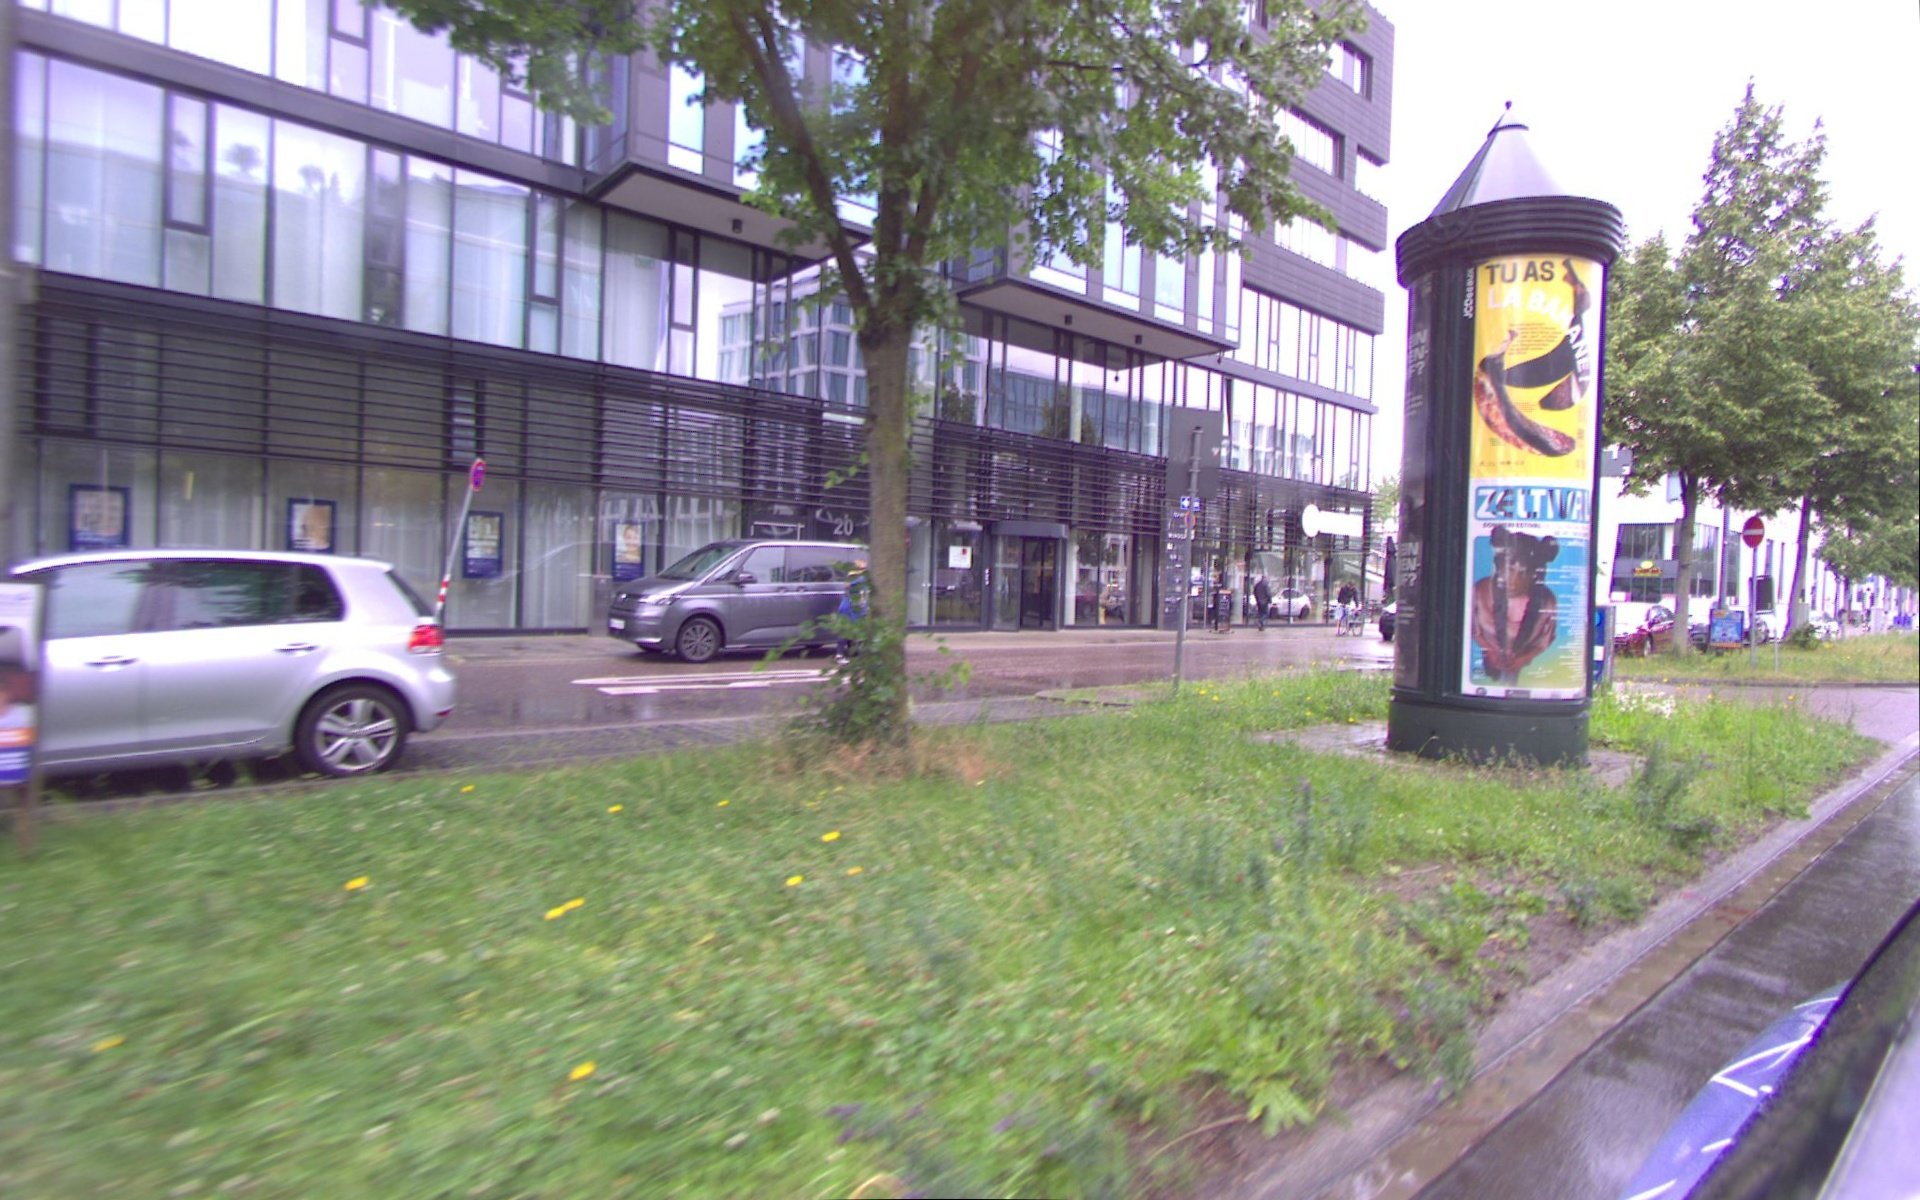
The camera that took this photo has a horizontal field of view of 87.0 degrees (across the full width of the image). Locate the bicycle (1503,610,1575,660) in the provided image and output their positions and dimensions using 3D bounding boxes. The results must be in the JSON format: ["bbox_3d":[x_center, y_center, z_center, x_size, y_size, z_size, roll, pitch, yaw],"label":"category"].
[{"bbox_3d":[11.698,0.695,20.496,0.424,0.929,1.464,3,0,-8],"label":"bicycle"}]

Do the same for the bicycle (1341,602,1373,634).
[{"bbox_3d":[12.137,0.557,30.897,0.437,0.909,1.211,2,-1,45],"label":"bicycle"}]

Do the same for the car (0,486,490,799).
[{"bbox_3d":[-5.266,0.206,6.111,4.027,1.616,1.764,3,-1,-40],"label":"car"}]

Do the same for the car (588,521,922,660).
[{"bbox_3d":[-3.209,-0.143,16.637,5.062,1.944,1.996,1,1,-43],"label":"car"}]

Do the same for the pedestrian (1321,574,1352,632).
[{"bbox_3d":[11.621,0.095,31.235,0.626,1.727,0.646,2,-1,44],"label":"pedestrian"}]

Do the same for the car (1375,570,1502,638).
[{"bbox_3d":[14.510,0.136,30.557,4.644,1.889,1.895,1,1,-43],"label":"car"}]

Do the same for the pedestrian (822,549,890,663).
[{"bbox_3d":[-1.647,0.095,16.107,0.789,1.761,0.581,4,0,-43],"label":"pedestrian"}]

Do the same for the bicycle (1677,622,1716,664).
[{"bbox_3d":[16.284,0.950,22.402,0.570,0.873,1.891,3,-1,34],"label":"bicycle"}]

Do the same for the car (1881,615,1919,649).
[{"bbox_3d":[52.689,1.833,56.010,4.754,1.729,1.997,3,-1,-41],"label":"car"}]

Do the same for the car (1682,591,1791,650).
[{"bbox_3d":[25.988,0.699,33.811,4.640,1.729,1.997,3,-1,-41],"label":"car"}]

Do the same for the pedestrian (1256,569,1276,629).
[{"bbox_3d":[9.633,-0.038,31.852,0.500,1.856,0.574,3,-1,13],"label":"pedestrian"}]

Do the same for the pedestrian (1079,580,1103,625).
[{"bbox_3d":[3.779,0.078,29.196,0.571,1.253,0.449,3,-1,2],"label":"pedestrian"}]

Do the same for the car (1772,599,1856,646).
[{"bbox_3d":[35.933,0.953,42.528,4.754,1.729,1.997,3,-1,-41],"label":"car"}]

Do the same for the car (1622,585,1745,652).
[{"bbox_3d":[21.146,0.566,29.530,4.143,1.729,1.997,3,-1,-41],"label":"car"}]

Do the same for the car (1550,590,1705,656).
[{"bbox_3d":[17.080,0.555,25.791,4.871,1.473,1.998,1,1,-40],"label":"car"}]

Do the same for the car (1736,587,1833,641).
[{"bbox_3d":[30.339,0.521,37.195,4.754,1.729,1.997,3,-1,-41],"label":"car"}]

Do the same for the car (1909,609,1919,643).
[{"bbox_3d":[61.098,1.722,63.661,1.911,2.039,3.935,3,-1,45],"label":"car"}]
